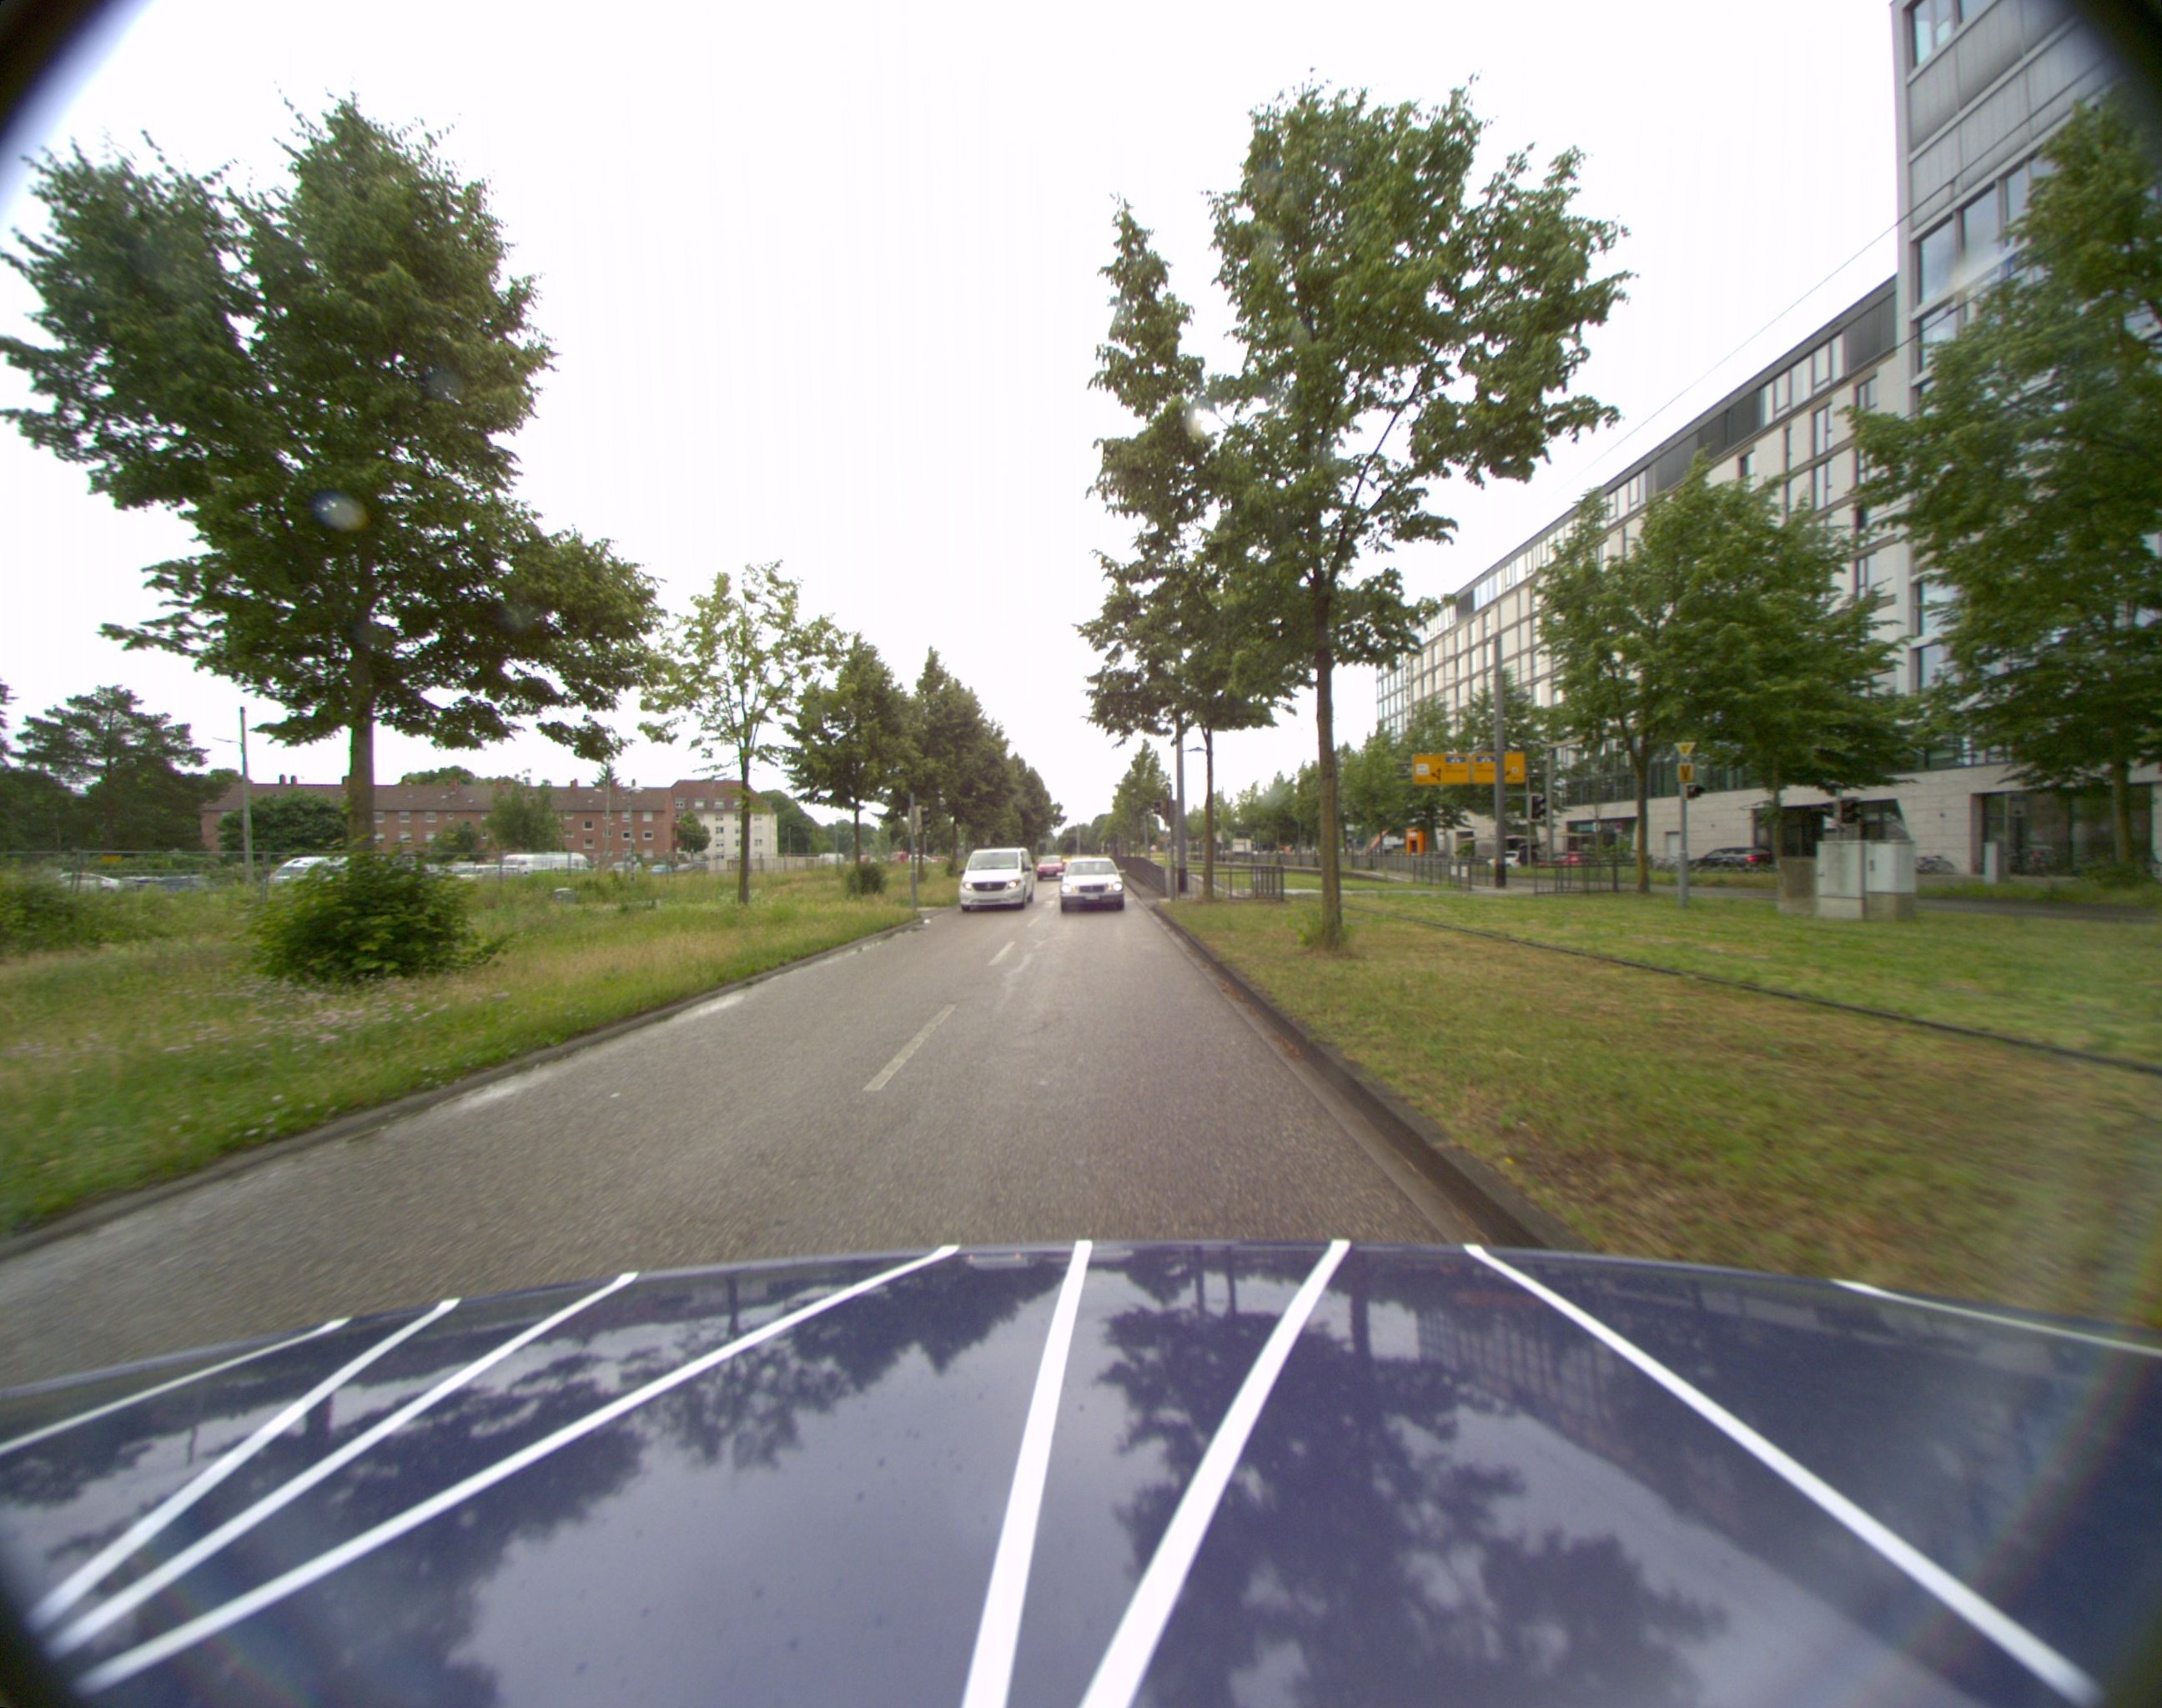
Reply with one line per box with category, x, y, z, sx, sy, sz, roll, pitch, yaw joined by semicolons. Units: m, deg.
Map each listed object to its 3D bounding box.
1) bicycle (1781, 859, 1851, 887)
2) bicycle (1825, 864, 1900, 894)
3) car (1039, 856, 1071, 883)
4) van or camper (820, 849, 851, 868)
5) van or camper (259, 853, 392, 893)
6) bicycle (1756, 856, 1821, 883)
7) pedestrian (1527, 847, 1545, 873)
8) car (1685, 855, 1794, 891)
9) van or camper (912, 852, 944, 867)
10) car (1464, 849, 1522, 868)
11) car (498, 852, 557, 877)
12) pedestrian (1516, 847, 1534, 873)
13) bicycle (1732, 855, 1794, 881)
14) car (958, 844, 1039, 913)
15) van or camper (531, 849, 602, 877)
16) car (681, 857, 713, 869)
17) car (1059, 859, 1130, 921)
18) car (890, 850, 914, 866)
bicycle;28.777;0.750;29.763;1.983;1.029;0.696;-1;1;2
bicycle;28.749;0.907;27.965;1.983;1.029;0.696;-1;1;2
car;-1.678;1.008;51.176;1.799;1.603;4.246;-2;0;2
van or camper;-40.520;0.718;125.466;2.343;3.017;5.515;-3;0;12
van or camper;-51.698;1.214;52.280;2.783;2.521;6.418;-2;0;-1
bicycle;29.131;0.629;31.279;1.983;1.029;0.696;-1;1;2
pedestrian;30.145;0.398;50.368;0.712;1.681;0.793;-2;1;4
car;33.517;0.928;38.852;1.998;1.684;4.192;-1;0;1
van or camper;-22.606;0.799;112.148;4.334;2.002;1.860;-2;0;-5
car;28.782;0.290;53.243;1.998;1.281;4.070;-1;1;3
car;-52.921;0.981;72.786;2.278;2.207;4.758;-2;0;-3
pedestrian;29.358;0.381;50.218;0.712;1.681;0.793;-2;1;4
bicycle;29.262;0.592;32.593;1.983;1.029;0.696;-1;1;2
car;-2.517;0.683;24.474;1.972;1.968;5.091;-1;1;1
van or camper;-46.123;0.765;68.323;2.208;2.294;6.147;-2;0;-1
car;-47.646;1.095;94.280;2.000;1.379;4.565;-3;0;-7
car;0.353;0.927;21.484;1.738;1.451;4.607;-2;0;0
car;-28.004;0.582;119.035;1.996;2.297;4.004;-2;0;14
